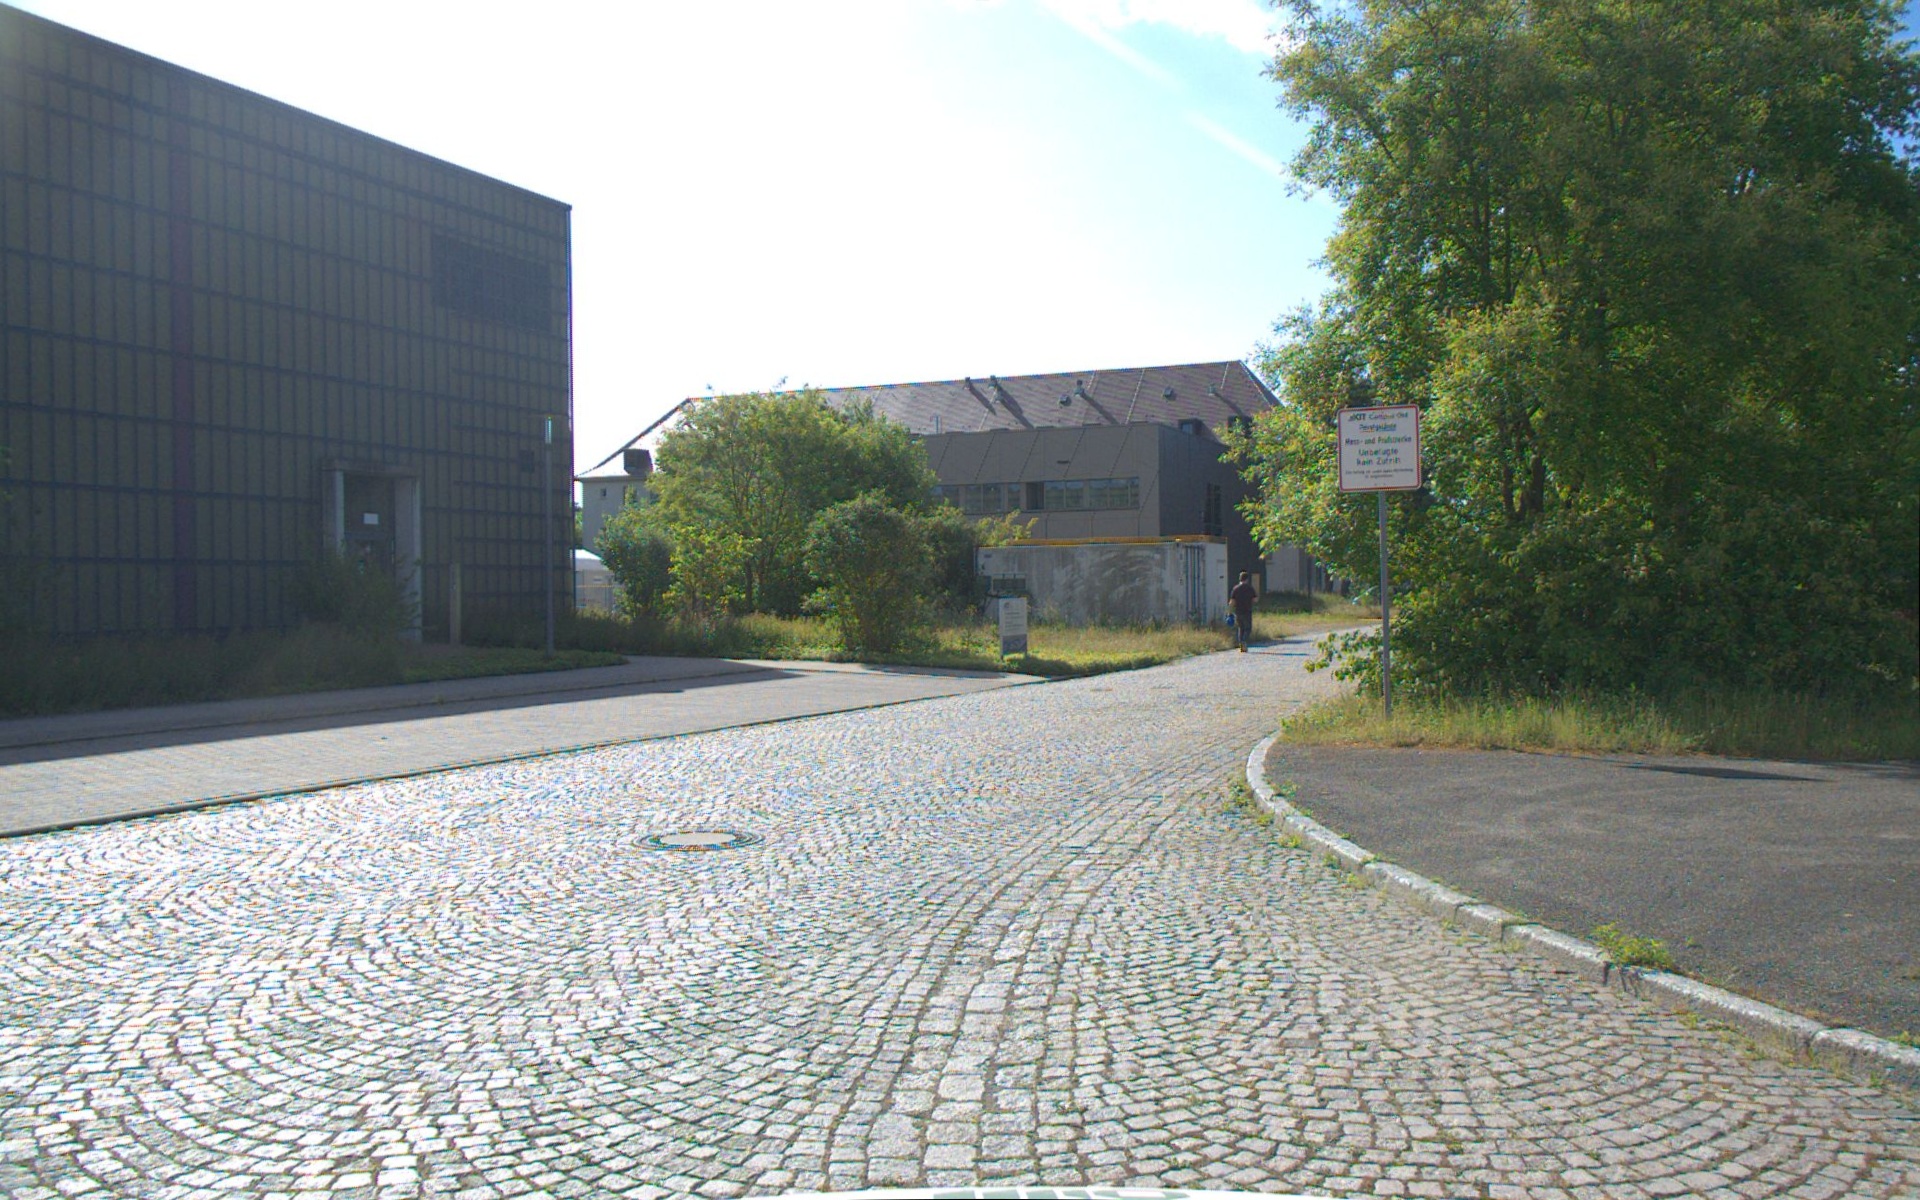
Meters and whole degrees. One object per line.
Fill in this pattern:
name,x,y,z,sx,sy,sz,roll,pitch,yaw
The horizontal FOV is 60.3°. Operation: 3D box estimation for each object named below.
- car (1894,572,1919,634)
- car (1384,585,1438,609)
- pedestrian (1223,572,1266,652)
car,23.238,0.051,39.512,1.511,1.431,3.572,-1,0,28
car,25.084,-0.148,91.984,2.840,1.281,1.289,-1,0,14
pedestrian,6.548,0.267,38.062,0.778,1.812,1.068,1,0,21
